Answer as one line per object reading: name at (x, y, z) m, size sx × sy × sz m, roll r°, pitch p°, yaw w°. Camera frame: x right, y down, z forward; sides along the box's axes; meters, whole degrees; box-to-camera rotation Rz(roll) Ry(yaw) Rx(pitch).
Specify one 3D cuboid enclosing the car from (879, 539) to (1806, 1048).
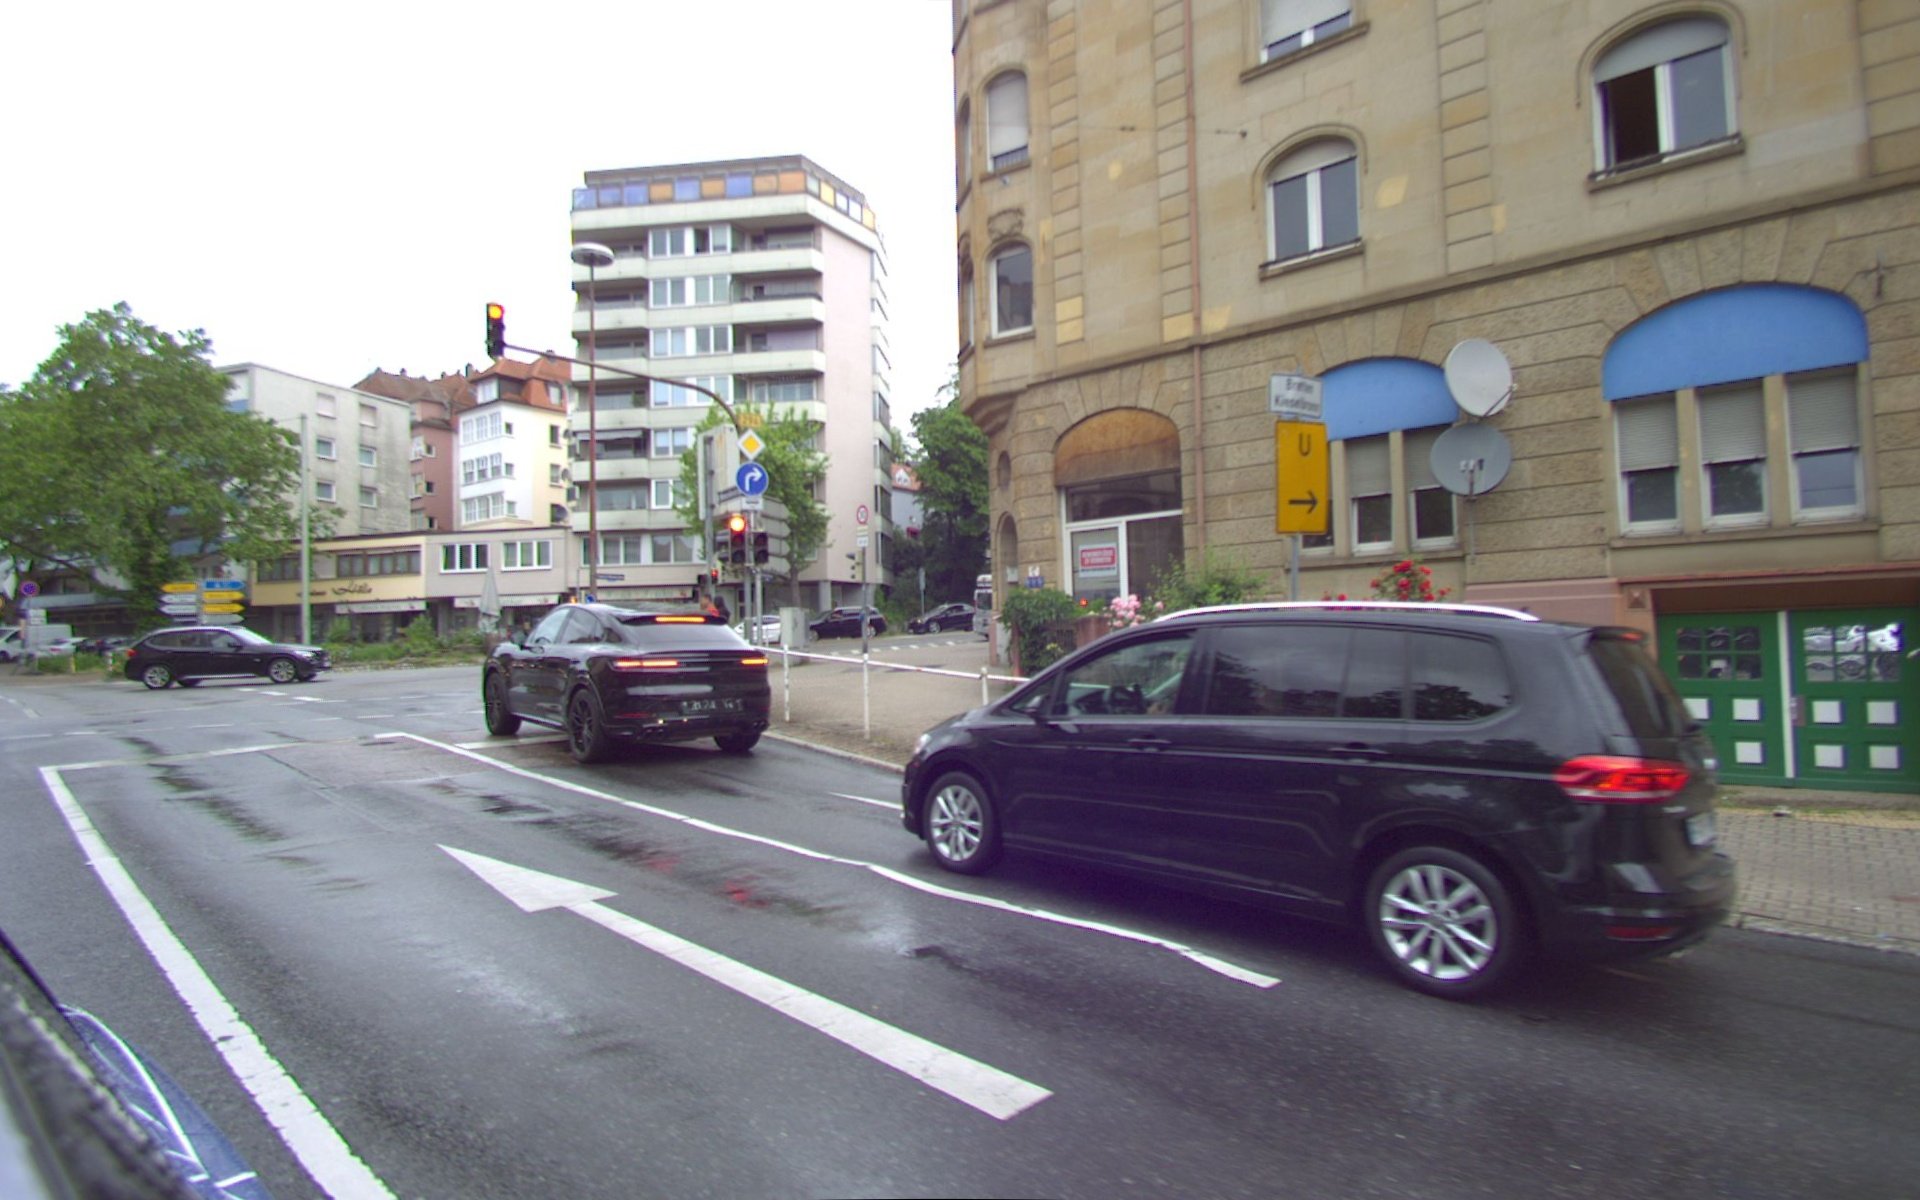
car at (1.602, 0.728, 5.489) m, size 1.602 × 1.662 × 4.423 m, roll 5°, pitch -5°, yaw -44°

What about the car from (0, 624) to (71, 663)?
car at (-52.917, 2.419, 56.443) m, size 1.860 × 1.992 × 4.959 m, roll -1°, pitch 0°, yaw 11°

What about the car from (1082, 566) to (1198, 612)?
car at (7.250, -0.438, 40.701) m, size 4.307 × 1.717 × 2.006 m, roll -2°, pitch 0°, yaw -31°

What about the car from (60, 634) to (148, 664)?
car at (-45.846, 2.619, 54.308) m, size 1.609 × 1.426 × 3.620 m, roll -1°, pitch 0°, yaw 2°

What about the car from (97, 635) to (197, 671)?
car at (-43.227, 2.777, 53.934) m, size 1.915 × 1.655 × 4.214 m, roll -1°, pitch 0°, yaw 2°

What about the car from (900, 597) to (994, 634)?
car at (-0.597, 0.715, 46.855) m, size 3.954 × 1.503 × 1.772 m, roll -2°, pitch -2°, yaw -28°

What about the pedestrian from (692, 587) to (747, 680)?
pedestrian at (-4.585, 0.623, 19.294) m, size 0.829 × 1.715 × 0.630 m, roll -2°, pitch 0°, yaw 42°

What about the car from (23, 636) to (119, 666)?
car at (-48.045, 2.717, 54.797) m, size 1.790 × 1.426 × 3.698 m, roll -1°, pitch 0°, yaw 6°

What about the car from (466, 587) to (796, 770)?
car at (-4.043, 0.735, 11.846) m, size 1.941 × 1.706 × 4.814 m, roll 0°, pitch 0°, yaw -41°

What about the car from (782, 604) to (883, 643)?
car at (-5.547, 1.036, 44.063) m, size 3.954 × 1.503 × 1.772 m, roll -2°, pitch -2°, yaw -28°

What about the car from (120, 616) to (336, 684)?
car at (-18.711, 1.244, 26.062) m, size 4.144 × 1.546 × 1.762 m, roll -2°, pitch -1°, yaw -14°

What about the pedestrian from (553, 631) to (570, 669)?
pedestrian at (-17.976, 2.253, 45.658) m, size 0.609 × 1.706 × 0.627 m, roll -1°, pitch -1°, yaw -15°

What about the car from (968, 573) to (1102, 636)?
car at (2.861, 0.150, 38.346) m, size 4.722 × 2.185 × 2.006 m, roll -2°, pitch 0°, yaw -31°

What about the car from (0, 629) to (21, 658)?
car at (-57.380, 2.570, 58.765) m, size 1.788 × 1.702 × 3.821 m, roll 0°, pitch -1°, yaw 13°

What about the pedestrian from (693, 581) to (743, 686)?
pedestrian at (-4.231, 0.579, 17.691) m, size 0.516 × 1.787 × 0.694 m, roll -2°, pitch 0°, yaw -44°

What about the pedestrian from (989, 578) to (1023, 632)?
pedestrian at (1.436, 0.160, 31.709) m, size 0.782 × 1.674 × 0.663 m, roll -2°, pitch 0°, yaw 34°

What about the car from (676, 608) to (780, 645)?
car at (-10.729, 1.193, 46.815) m, size 4.317 × 1.503 × 1.920 m, roll -2°, pitch 0°, yaw -28°
